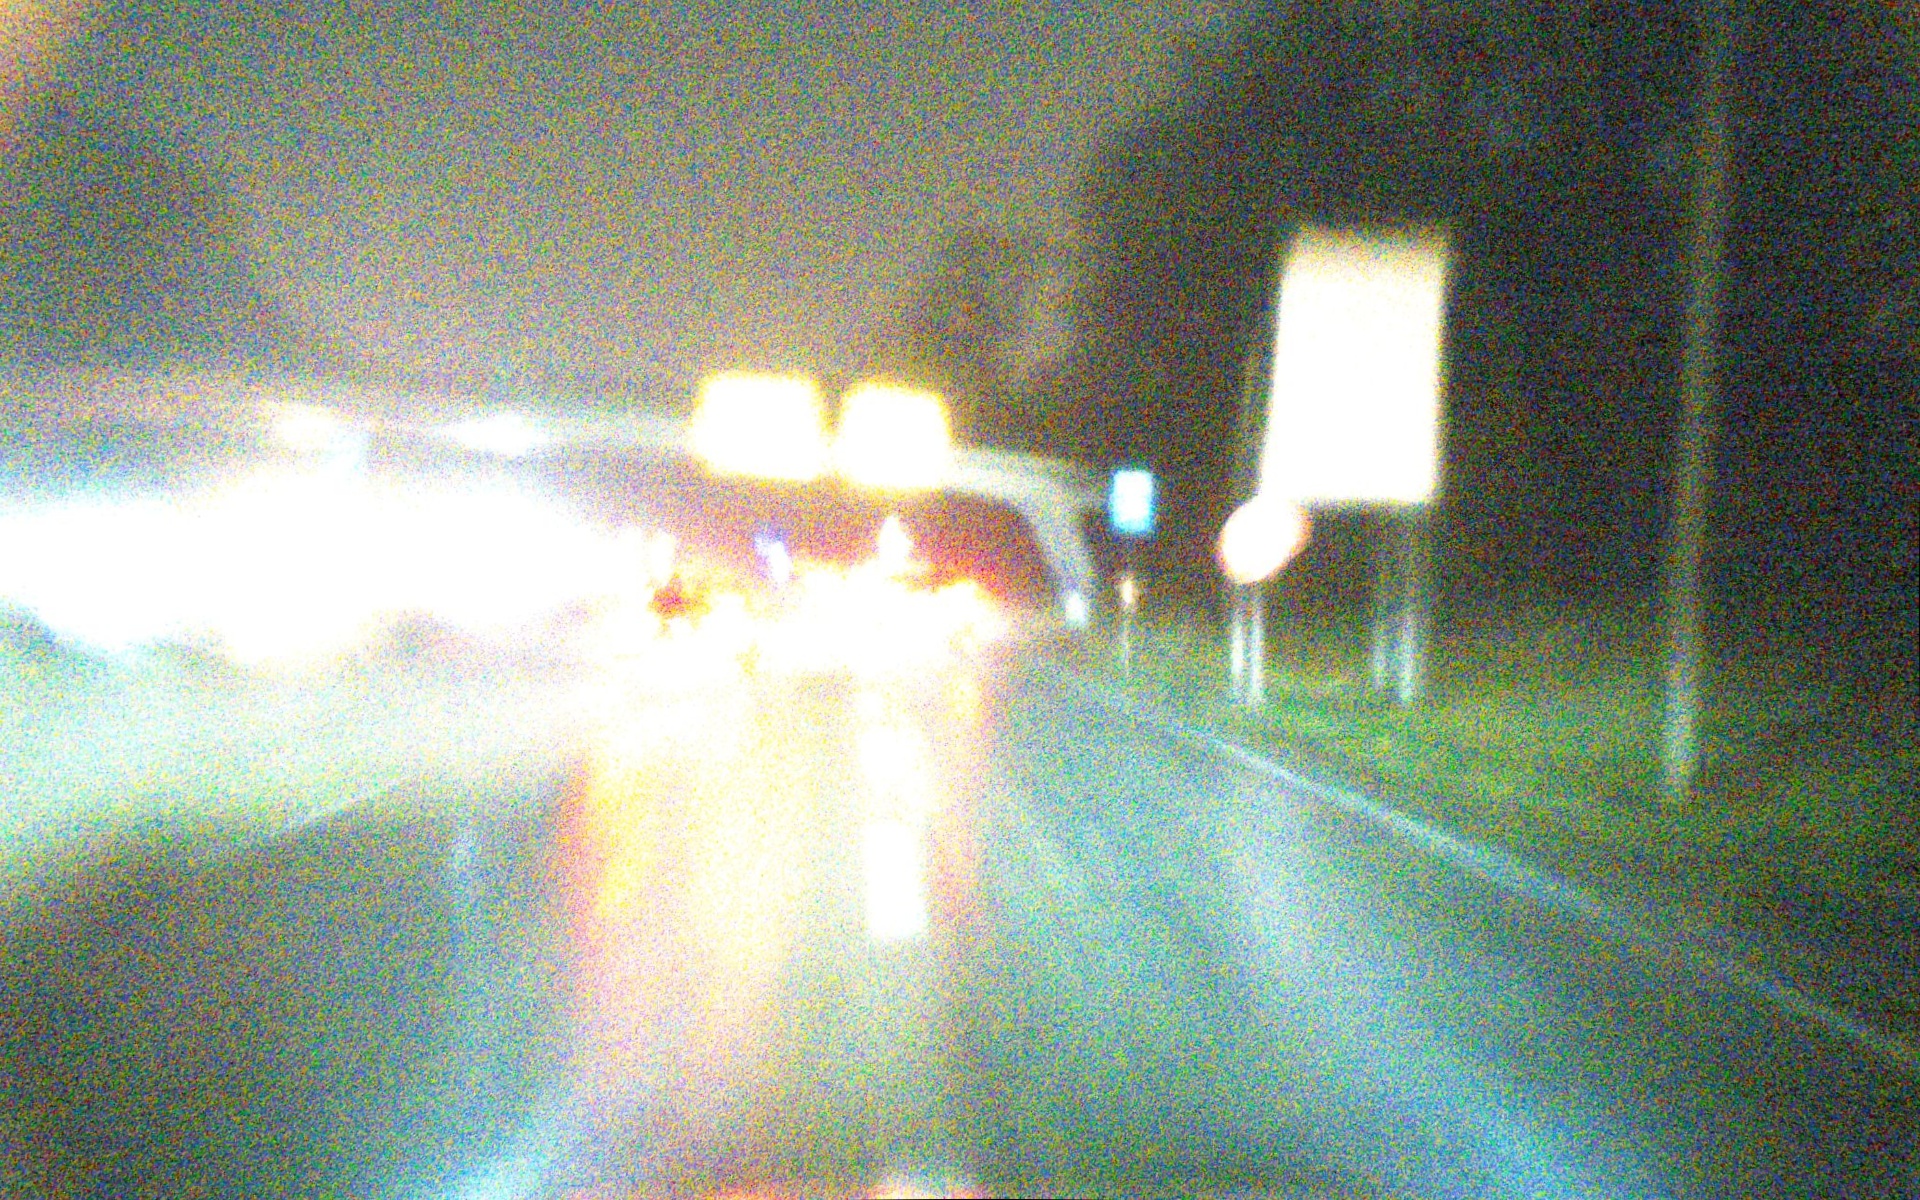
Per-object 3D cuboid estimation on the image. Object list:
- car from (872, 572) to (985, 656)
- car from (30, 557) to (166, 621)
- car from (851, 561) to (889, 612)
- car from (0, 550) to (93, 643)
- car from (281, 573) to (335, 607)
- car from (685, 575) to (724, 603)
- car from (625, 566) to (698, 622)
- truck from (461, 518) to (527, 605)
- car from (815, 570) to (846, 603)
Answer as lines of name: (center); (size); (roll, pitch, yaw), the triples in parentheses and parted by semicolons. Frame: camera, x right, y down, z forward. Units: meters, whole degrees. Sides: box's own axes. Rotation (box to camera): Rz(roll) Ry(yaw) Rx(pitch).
car: (-0.641, 0.250, 30.613); (1.923, 1.404, 4.047); (1, 0, -3)
car: (-23.998, -0.305, 46.241); (1.806, 1.676, 4.329); (1, 0, -5)
car: (-3.797, -0.581, 69.733); (1.523, 2.048, 3.998); (1, 1, -3)
car: (-19.490, -0.103, 32.546); (2.001, 1.799, 5.594); (2, 1, -2)
car: (-34.553, -0.521, 87.722); (1.958, 1.758, 3.989); (1, 0, -11)
car: (-14.615, -0.618, 94.775); (1.858, 1.572, 3.997); (1, 0, -4)
car: (-8.799, -0.168, 49.025); (1.856, 1.577, 3.994); (1, 0, -6)
truck: (-25.053, -2.012, 89.134); (2.516, 4.481, 5.840); (2, 0, -8)
car: (-8.303, -0.828, 106.219); (1.954, 2.049, 3.997); (1, 0, -4)
